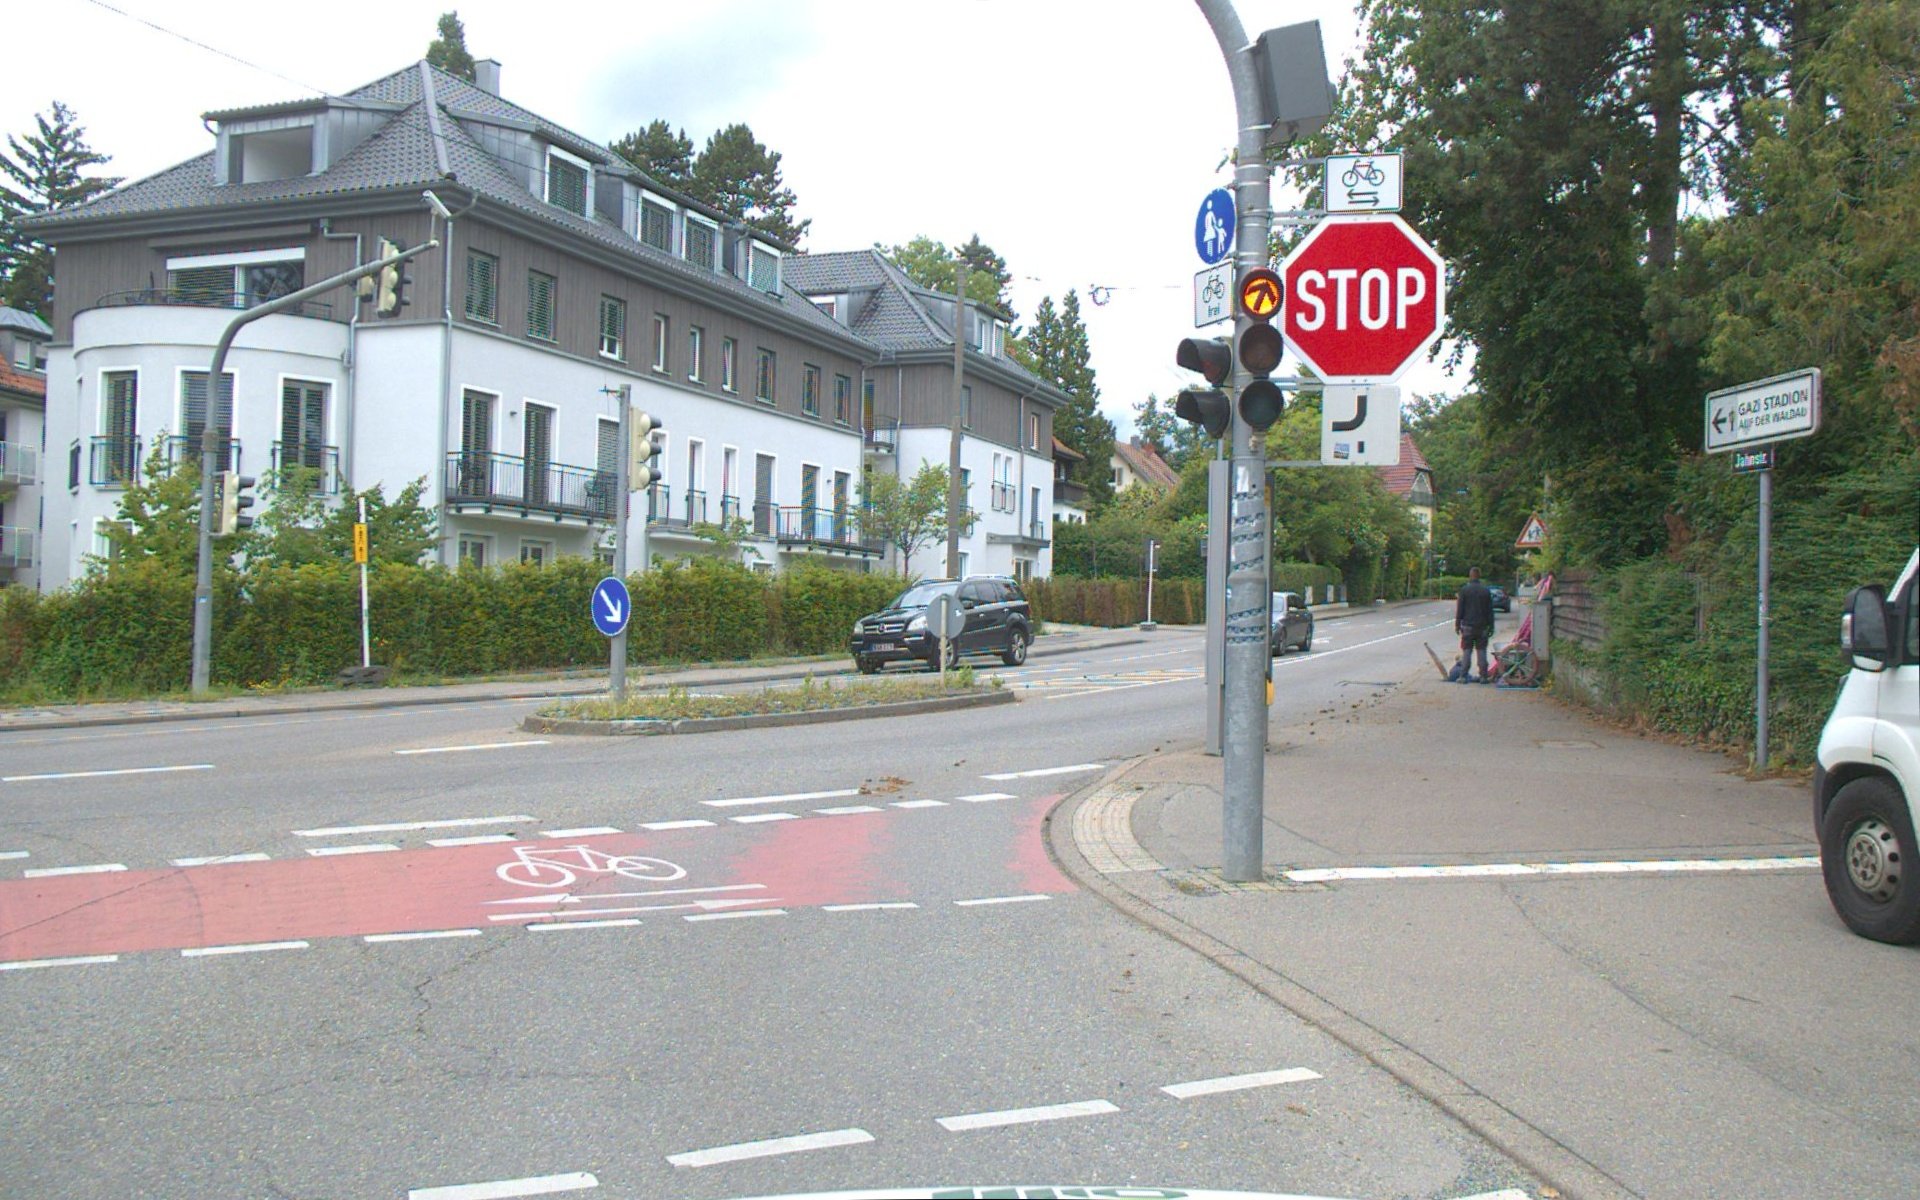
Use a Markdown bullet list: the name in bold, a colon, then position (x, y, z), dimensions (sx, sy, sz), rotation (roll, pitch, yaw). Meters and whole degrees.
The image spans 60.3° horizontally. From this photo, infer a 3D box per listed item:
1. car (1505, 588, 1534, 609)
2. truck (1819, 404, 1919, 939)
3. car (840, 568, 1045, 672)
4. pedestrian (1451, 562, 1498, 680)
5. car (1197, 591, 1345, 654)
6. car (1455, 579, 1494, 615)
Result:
- **car**: position (39.376, -0.104, 116.299), dimensions (1.659, 1.455, 3.747), rotation (-1, 0, 23)
- **truck**: position (5.141, 0.321, 5.022), dimensions (2.162, 2.283, 5.724), rotation (1, 0, 1)
- **car**: position (-0.238, 0.395, 33.157), dimensions (1.876, 1.913, 5.134), rotation (-1, -1, 28)
- **pedestrian**: position (8.586, 0.345, 27.595), dimensions (0.584, 1.940, 0.558), rotation (1, 0, 0)
- **car**: position (7.711, 0.505, 40.644), dimensions (1.905, 1.428, 4.728), rotation (1, 1, 34)
- **car**: position (26.403, -0.177, 84.796), dimensions (1.770, 1.784, 4.488), rotation (-1, 0, 19)
